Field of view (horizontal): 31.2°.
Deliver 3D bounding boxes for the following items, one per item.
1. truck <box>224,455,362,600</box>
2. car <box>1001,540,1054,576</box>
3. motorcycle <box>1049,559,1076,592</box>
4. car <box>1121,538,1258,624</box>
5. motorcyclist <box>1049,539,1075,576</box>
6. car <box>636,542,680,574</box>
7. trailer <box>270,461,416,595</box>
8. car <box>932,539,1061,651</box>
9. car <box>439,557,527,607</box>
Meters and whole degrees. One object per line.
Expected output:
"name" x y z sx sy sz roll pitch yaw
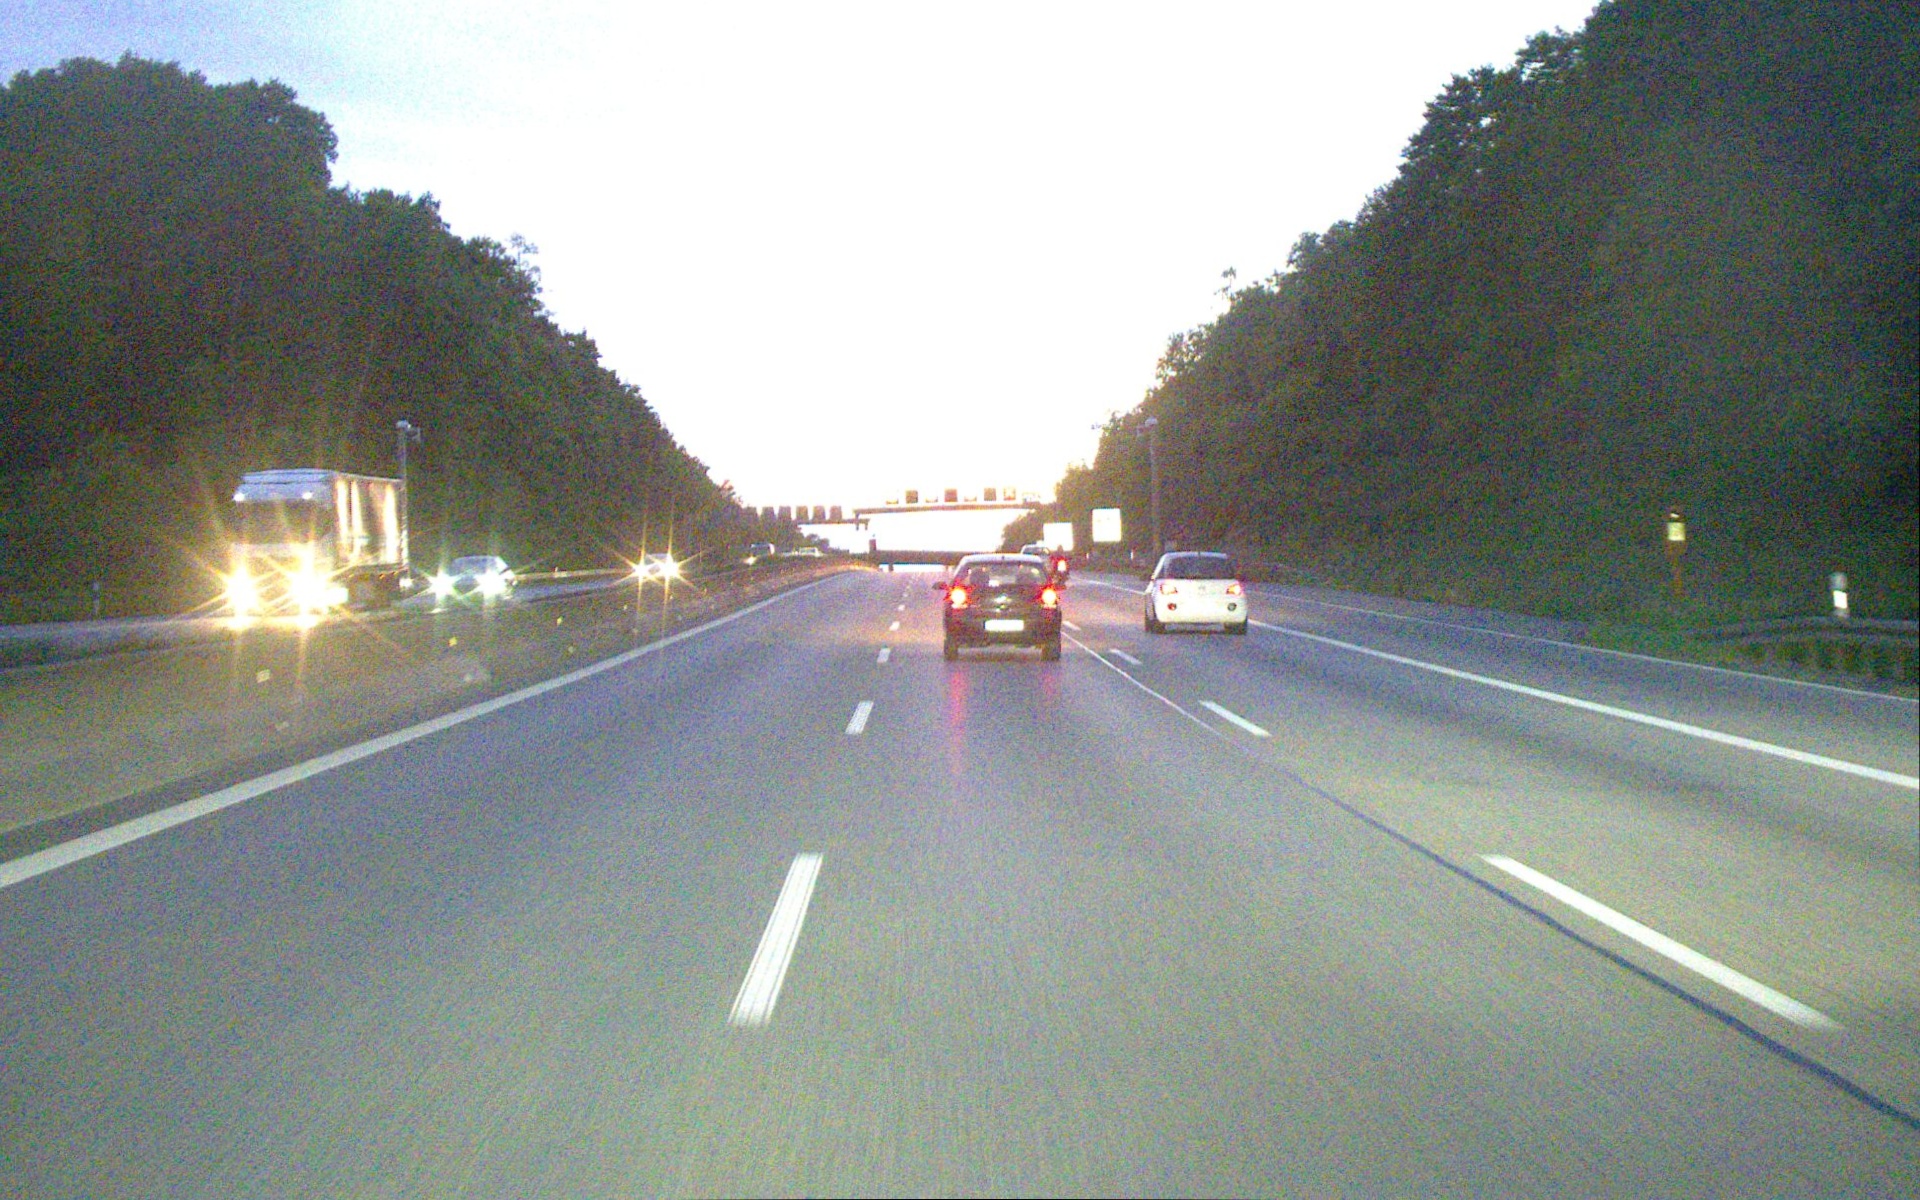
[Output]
"truck" -18.877 -2.045 97.613 2.646 3.958 7.122 0 1 -1
"car" 3.003 -1.857 153.863 1.865 1.489 4.399 1 0 -5
"motorcycle" 3.576 -0.848 120.419 0.829 1.130 2.476 -1 0 -1
"car" 4.148 -0.321 62.663 1.825 1.471 4.399 1 0 -5
"motorcyclist" 3.570 -1.481 120.351 0.829 1.287 1.190 -1 0 -1
"car" -15.446 -2.170 176.065 1.880 1.569 4.655 -1 1 -1
"trailer" -18.964 -2.191 106.253 2.647 3.917 10.186 0 1 0
"car" 0.480 -0.052 49.016 1.704 1.504 4.232 1 0 -1
"car" -14.425 -0.555 104.142 1.910 1.446 5.354 0 1 0
